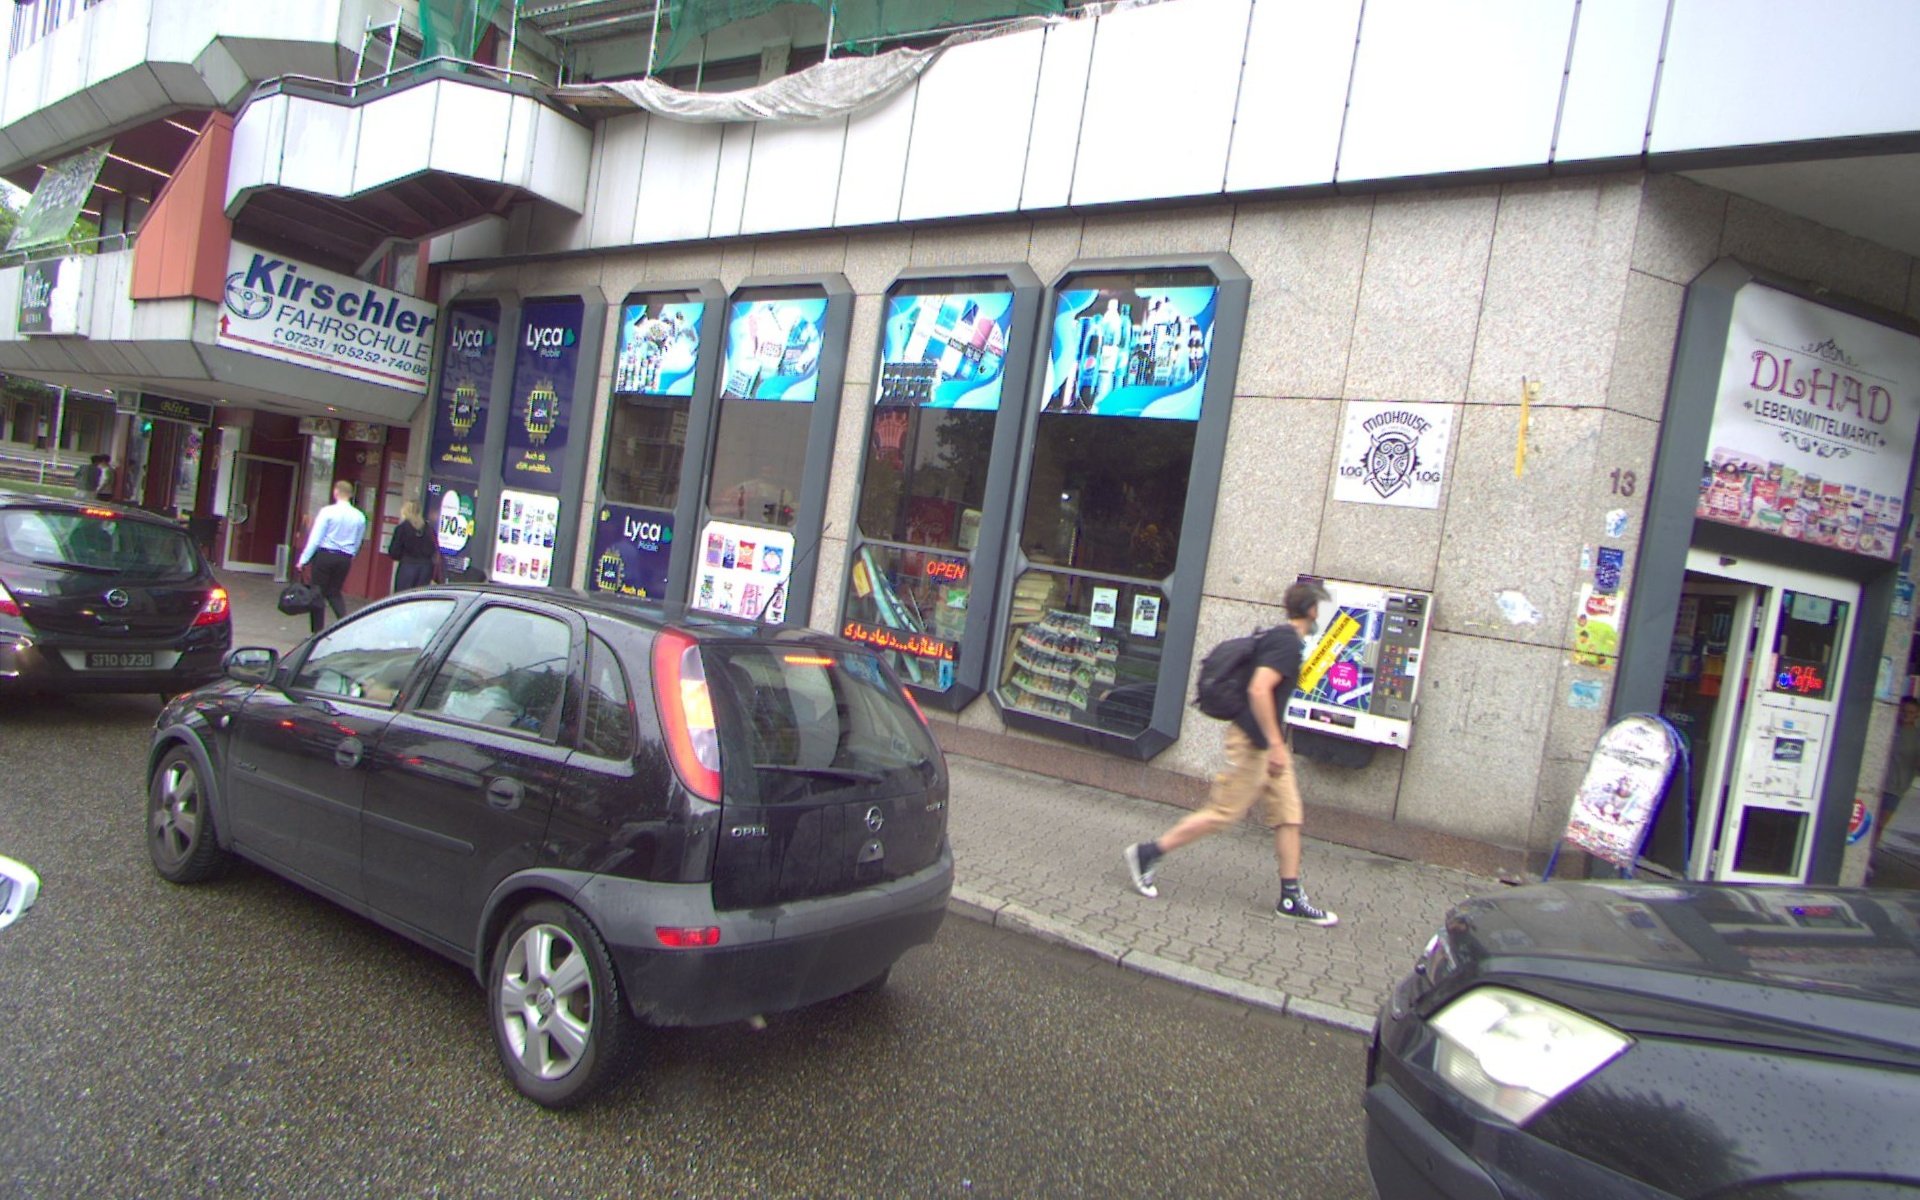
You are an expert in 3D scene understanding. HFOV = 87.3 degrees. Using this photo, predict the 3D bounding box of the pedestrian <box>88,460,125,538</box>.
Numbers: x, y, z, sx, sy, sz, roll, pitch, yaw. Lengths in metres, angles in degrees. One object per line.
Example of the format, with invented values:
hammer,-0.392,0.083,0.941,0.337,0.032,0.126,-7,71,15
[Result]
pedestrian,-18.667,-2.208,22.006,0.496,1.660,0.396,6,1,32

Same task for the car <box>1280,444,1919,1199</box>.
car,2.802,0.922,1.441,4.095,1.786,1.763,8,-1,32

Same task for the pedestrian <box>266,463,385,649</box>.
pedestrian,-7.100,-0.482,11.277,0.629,1.957,0.737,6,-1,31

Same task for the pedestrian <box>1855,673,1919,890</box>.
pedestrian,8.693,1.632,9.084,0.733,1.841,0.769,6,4,40

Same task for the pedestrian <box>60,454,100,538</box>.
pedestrian,-18.694,-2.211,21.379,0.443,1.704,0.426,6,1,30

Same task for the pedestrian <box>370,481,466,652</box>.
pedestrian,-6.496,-0.400,12.073,0.629,1.961,0.736,6,4,31

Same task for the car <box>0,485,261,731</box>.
car,-7.080,-0.109,7.355,3.776,1.446,1.620,8,-1,29

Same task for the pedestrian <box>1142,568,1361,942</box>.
pedestrian,1.597,0.780,5.527,0.763,1.841,0.739,7,4,43

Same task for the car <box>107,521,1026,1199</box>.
car,-1.750,0.648,4.127,3.563,1.446,1.609,8,-1,33
